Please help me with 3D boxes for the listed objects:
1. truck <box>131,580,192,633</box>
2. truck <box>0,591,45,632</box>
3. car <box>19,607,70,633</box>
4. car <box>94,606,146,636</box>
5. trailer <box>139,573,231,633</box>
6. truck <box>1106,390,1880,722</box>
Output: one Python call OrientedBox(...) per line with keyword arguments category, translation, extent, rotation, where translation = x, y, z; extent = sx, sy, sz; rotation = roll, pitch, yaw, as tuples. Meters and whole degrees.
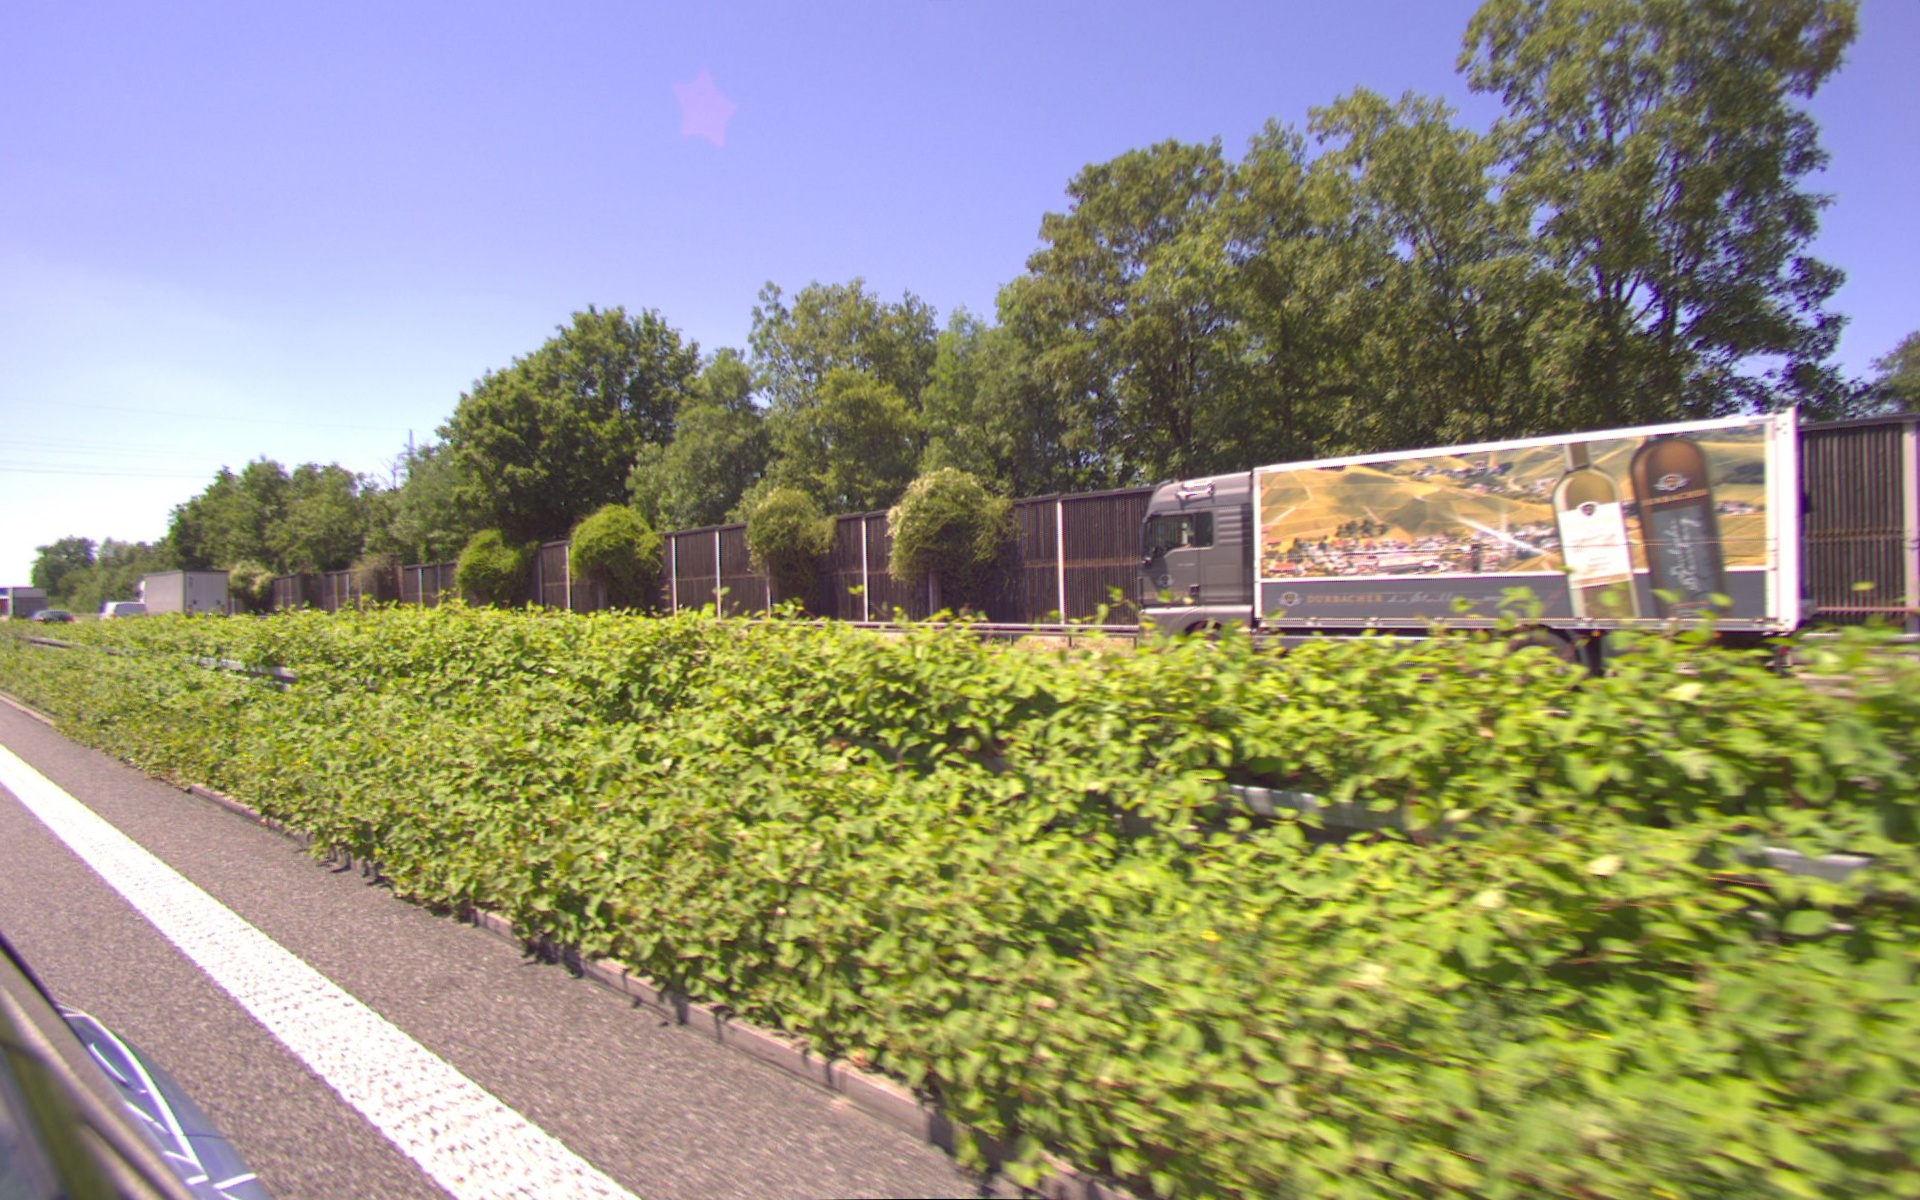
OrientedBox(category="truck", translation=(-60.657, 0.509, 76.808), extent=(5.571, 3.924, 2.658), rotation=(-1, 0, 41))
OrientedBox(category="truck", translation=(-75.616, 0.922, 81.368), extent=(8.531, 3.138, 2.170), rotation=(-1, 0, 42))
OrientedBox(category="car", translation=(-50.273, 1.094, 55.575), extent=(3.911, 1.401, 1.609), rotation=(-1, 0, 41))
OrientedBox(category="car", translation=(-53.058, 1.326, 63.893), extent=(4.815, 1.834, 1.848), rotation=(-1, 0, 42))
OrientedBox(category="trailer", translation=(-55.422, 0.259, 72.124), extent=(13.757, 3.939, 2.700), rotation=(-1, 0, 42))
OrientedBox(category="truck", translation=(7.225, -0.429, 15.440), extent=(9.947, 3.632, 2.840), rotation=(-1, 0, 41))
